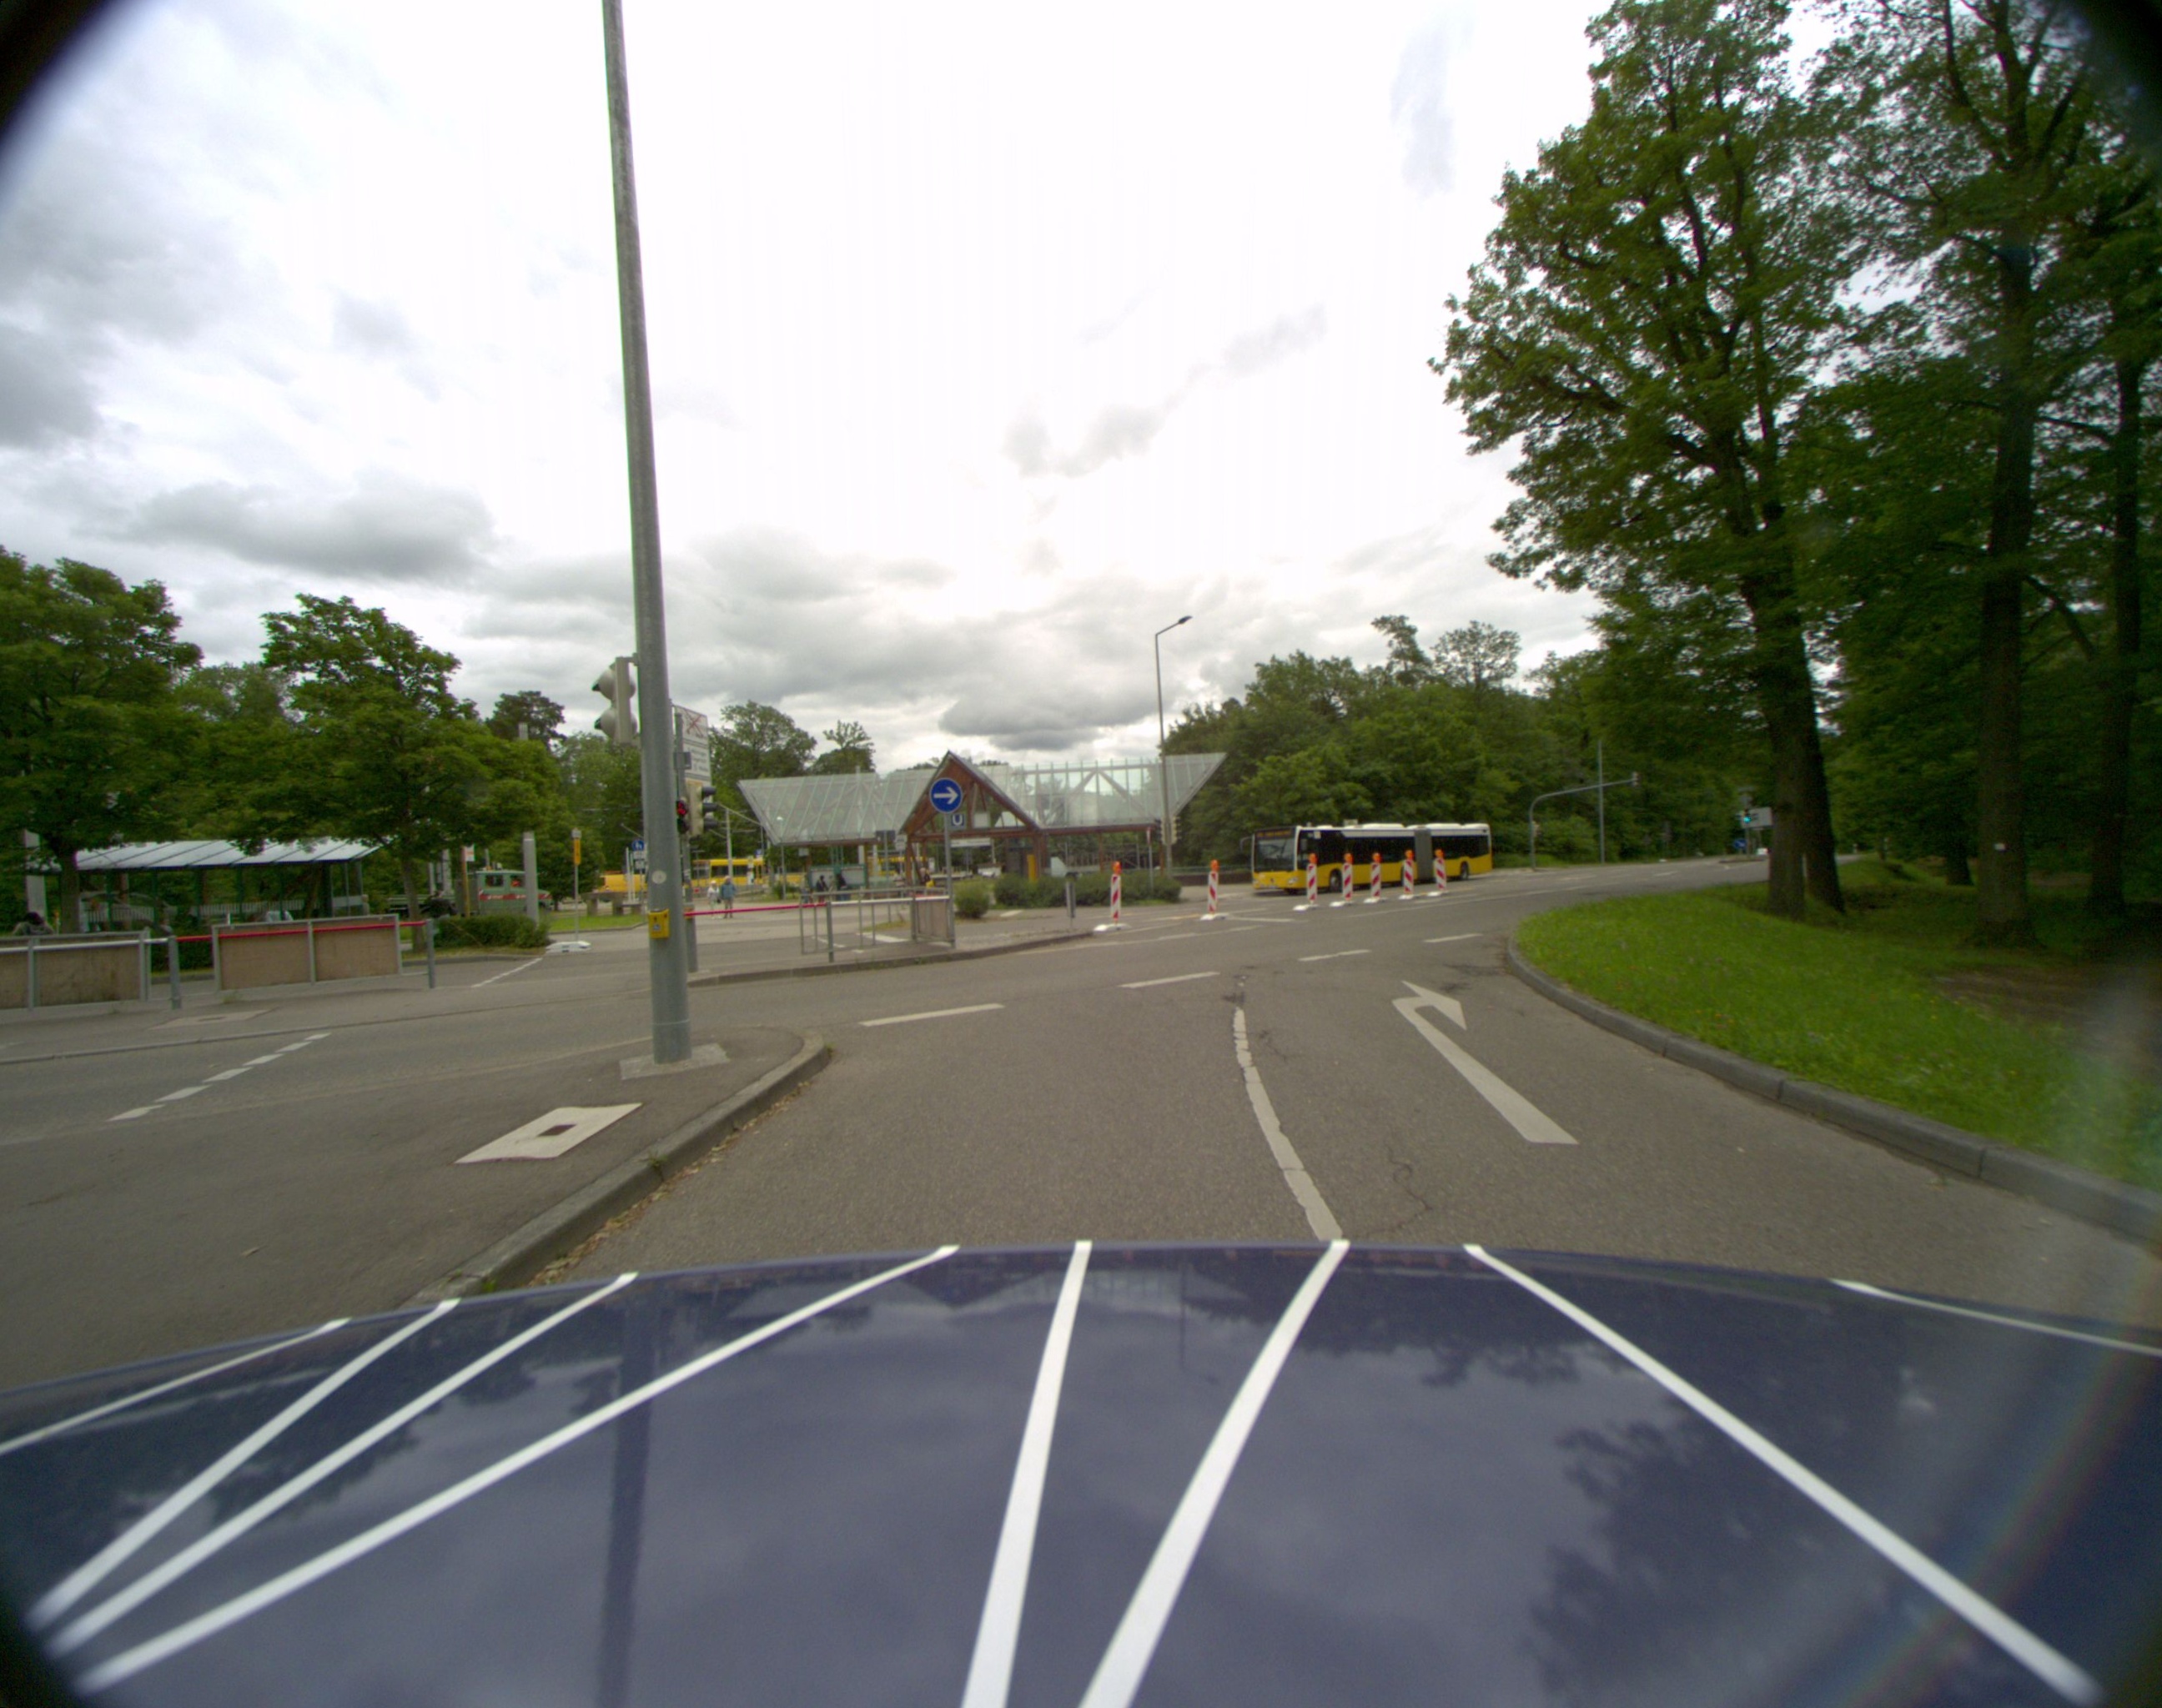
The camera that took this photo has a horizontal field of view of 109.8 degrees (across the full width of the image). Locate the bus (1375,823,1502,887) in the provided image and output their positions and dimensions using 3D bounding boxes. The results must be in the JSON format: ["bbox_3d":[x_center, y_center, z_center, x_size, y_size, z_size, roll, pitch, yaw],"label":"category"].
[{"bbox_3d":[19.587,0.026,41.431,7.771,3.139,2.805,-2,-2,-37],"label":"bus"}]

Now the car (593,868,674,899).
[{"bbox_3d":[-40.302,2.620,68.690,1.996,2.478,6.159,-4,-2,24],"label":"car"}]

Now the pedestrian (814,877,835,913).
[{"bbox_3d":[-12.782,2.021,37.846,0.560,1.747,0.670,-5,-1,34],"label":"pedestrian"}]

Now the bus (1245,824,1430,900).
[{"bbox_3d":[12.351,0.276,35.852,10.538,3.139,2.805,-1,-2,-38],"label":"bus"}]

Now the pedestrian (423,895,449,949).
[{"bbox_3d":[-18.629,1.948,21.938,0.480,1.507,0.522,-3,-1,-37],"label":"pedestrian"}]

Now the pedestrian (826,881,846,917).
[{"bbox_3d":[-12.137,2.239,37.637,0.601,1.747,0.667,-3,-2,-43],"label":"pedestrian"}]

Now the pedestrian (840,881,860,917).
[{"bbox_3d":[-11.526,2.227,37.877,0.601,1.747,0.667,-3,-2,-43],"label":"pedestrian"}]

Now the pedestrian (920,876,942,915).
[{"bbox_3d":[-6.936,1.917,35.231,0.667,1.747,0.657,-4,-1,16],"label":"pedestrian"}]

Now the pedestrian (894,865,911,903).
[{"bbox_3d":[-8.657,1.451,36.830,0.656,1.747,0.667,-3,-1,-19],"label":"pedestrian"}]

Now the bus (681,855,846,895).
[{"bbox_3d":[-32.056,2.006,78.783,3.971,3.462,18.607,-4,-2,20],"label":"bus"}]

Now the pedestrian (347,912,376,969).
[{"bbox_3d":[-19.885,2.379,21.011,0.480,1.507,0.522,-3,-1,-37],"label":"pedestrian"}]

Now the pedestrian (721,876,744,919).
[{"bbox_3d":[-14.777,1.830,32.220,0.737,1.747,0.667,-3,-1,-20],"label":"pedestrian"}]

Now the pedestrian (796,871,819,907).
[{"bbox_3d":[-13.634,1.740,37.853,0.733,1.747,0.737,-4,-1,6],"label":"pedestrian"}]

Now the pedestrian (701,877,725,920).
[{"bbox_3d":[-15.428,1.871,31.855,0.737,1.747,0.667,-3,-1,-19],"label":"pedestrian"}]

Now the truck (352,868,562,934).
[{"bbox_3d":[-26.851,1.951,33.038,2.401,2.337,6.557,-5,-2,35],"label":"truck"}]
